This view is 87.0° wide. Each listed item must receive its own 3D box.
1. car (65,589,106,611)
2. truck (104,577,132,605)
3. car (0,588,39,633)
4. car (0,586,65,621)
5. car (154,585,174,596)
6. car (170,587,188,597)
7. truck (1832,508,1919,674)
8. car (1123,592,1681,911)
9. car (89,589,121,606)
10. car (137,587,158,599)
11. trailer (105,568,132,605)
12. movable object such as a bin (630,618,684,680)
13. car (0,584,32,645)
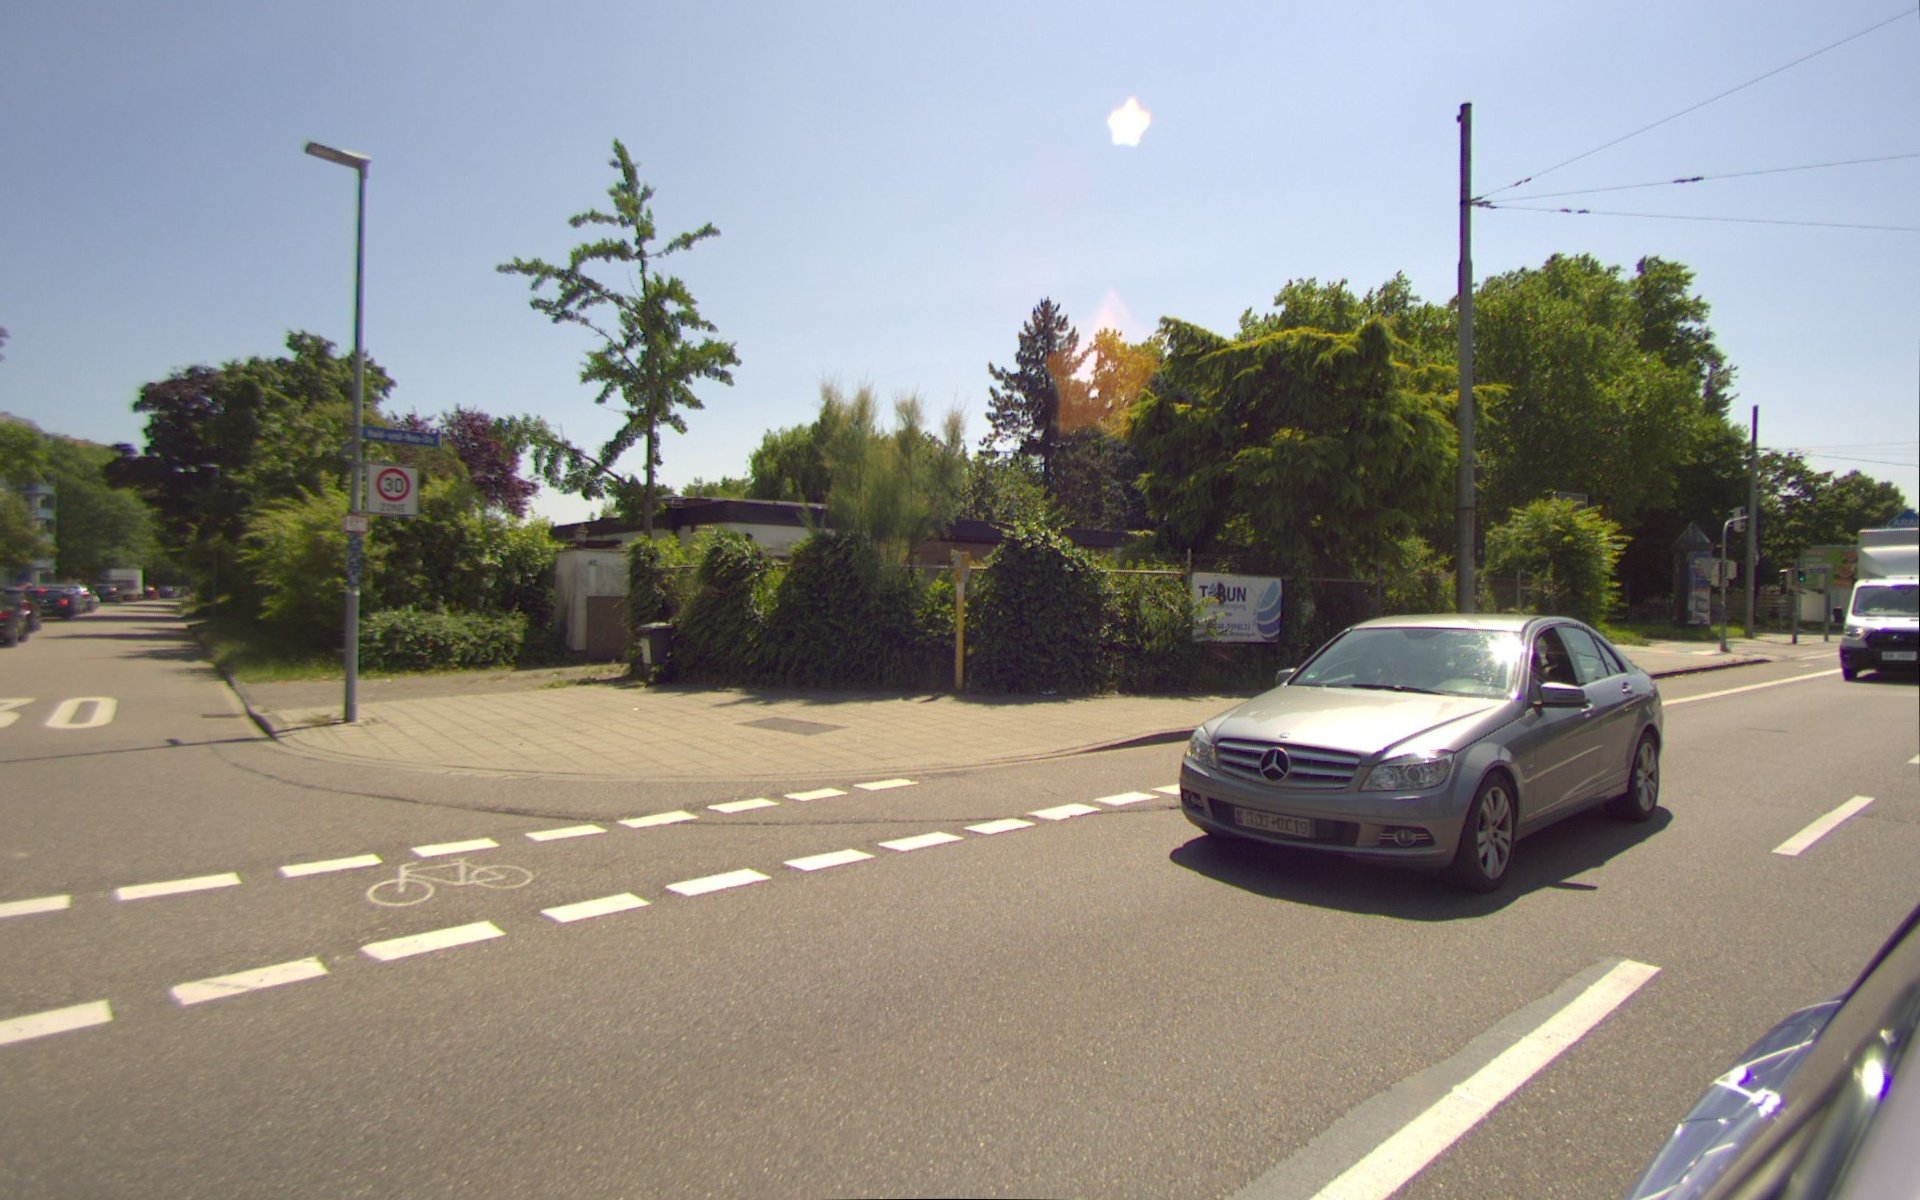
[{"bbox_3d":[-60.819,-0.017,70.457,1.964,1.456,3.996,0,0,-38],"label":"car"},{"bbox_3d":[-80.906,-0.858,97.317,1.964,2.700,4.277,0,0,-38],"label":"truck"},{"bbox_3d":[-32.994,0.336,34.639,1.964,1.456,3.995,0,0,-40],"label":"car"},{"bbox_3d":[-41.242,0.130,44.997,1.964,1.456,3.996,0,0,-38],"label":"car"},{"bbox_3d":[-104.815,-1.281,133.284,1.964,1.456,3.996,1,0,-38],"label":"car"},{"bbox_3d":[-113.841,-1.162,147.512,1.964,1.456,3.996,0,0,-38],"label":"car"},{"bbox_3d":[22.179,-0.197,22.940,8.163,3.319,2.293,0,0,-40],"label":"truck"},{"bbox_3d":[3.089,0.712,6.734,3.901,1.478,1.902,0,0,-41],"label":"car"},{"bbox_3d":[-73.671,-0.223,87.238,1.964,1.456,3.996,0,0,-38],"label":"car"},{"bbox_3d":[-96.025,-0.845,119.620,1.964,1.456,3.996,0,0,-38],"label":"car"},{"bbox_3d":[-82.819,-1.312,99.688,1.964,3.555,5.860,0,0,-39],"label":"trailer"},{"bbox_3d":[-4.739,0.750,15.815,0.626,0.914,0.630,0,0,-39],"label":"movable object such as a bin"},{"bbox_3d":[-25.602,0.355,26.428,1.599,1.515,3.998,0,0,-37],"label":"car"}]
